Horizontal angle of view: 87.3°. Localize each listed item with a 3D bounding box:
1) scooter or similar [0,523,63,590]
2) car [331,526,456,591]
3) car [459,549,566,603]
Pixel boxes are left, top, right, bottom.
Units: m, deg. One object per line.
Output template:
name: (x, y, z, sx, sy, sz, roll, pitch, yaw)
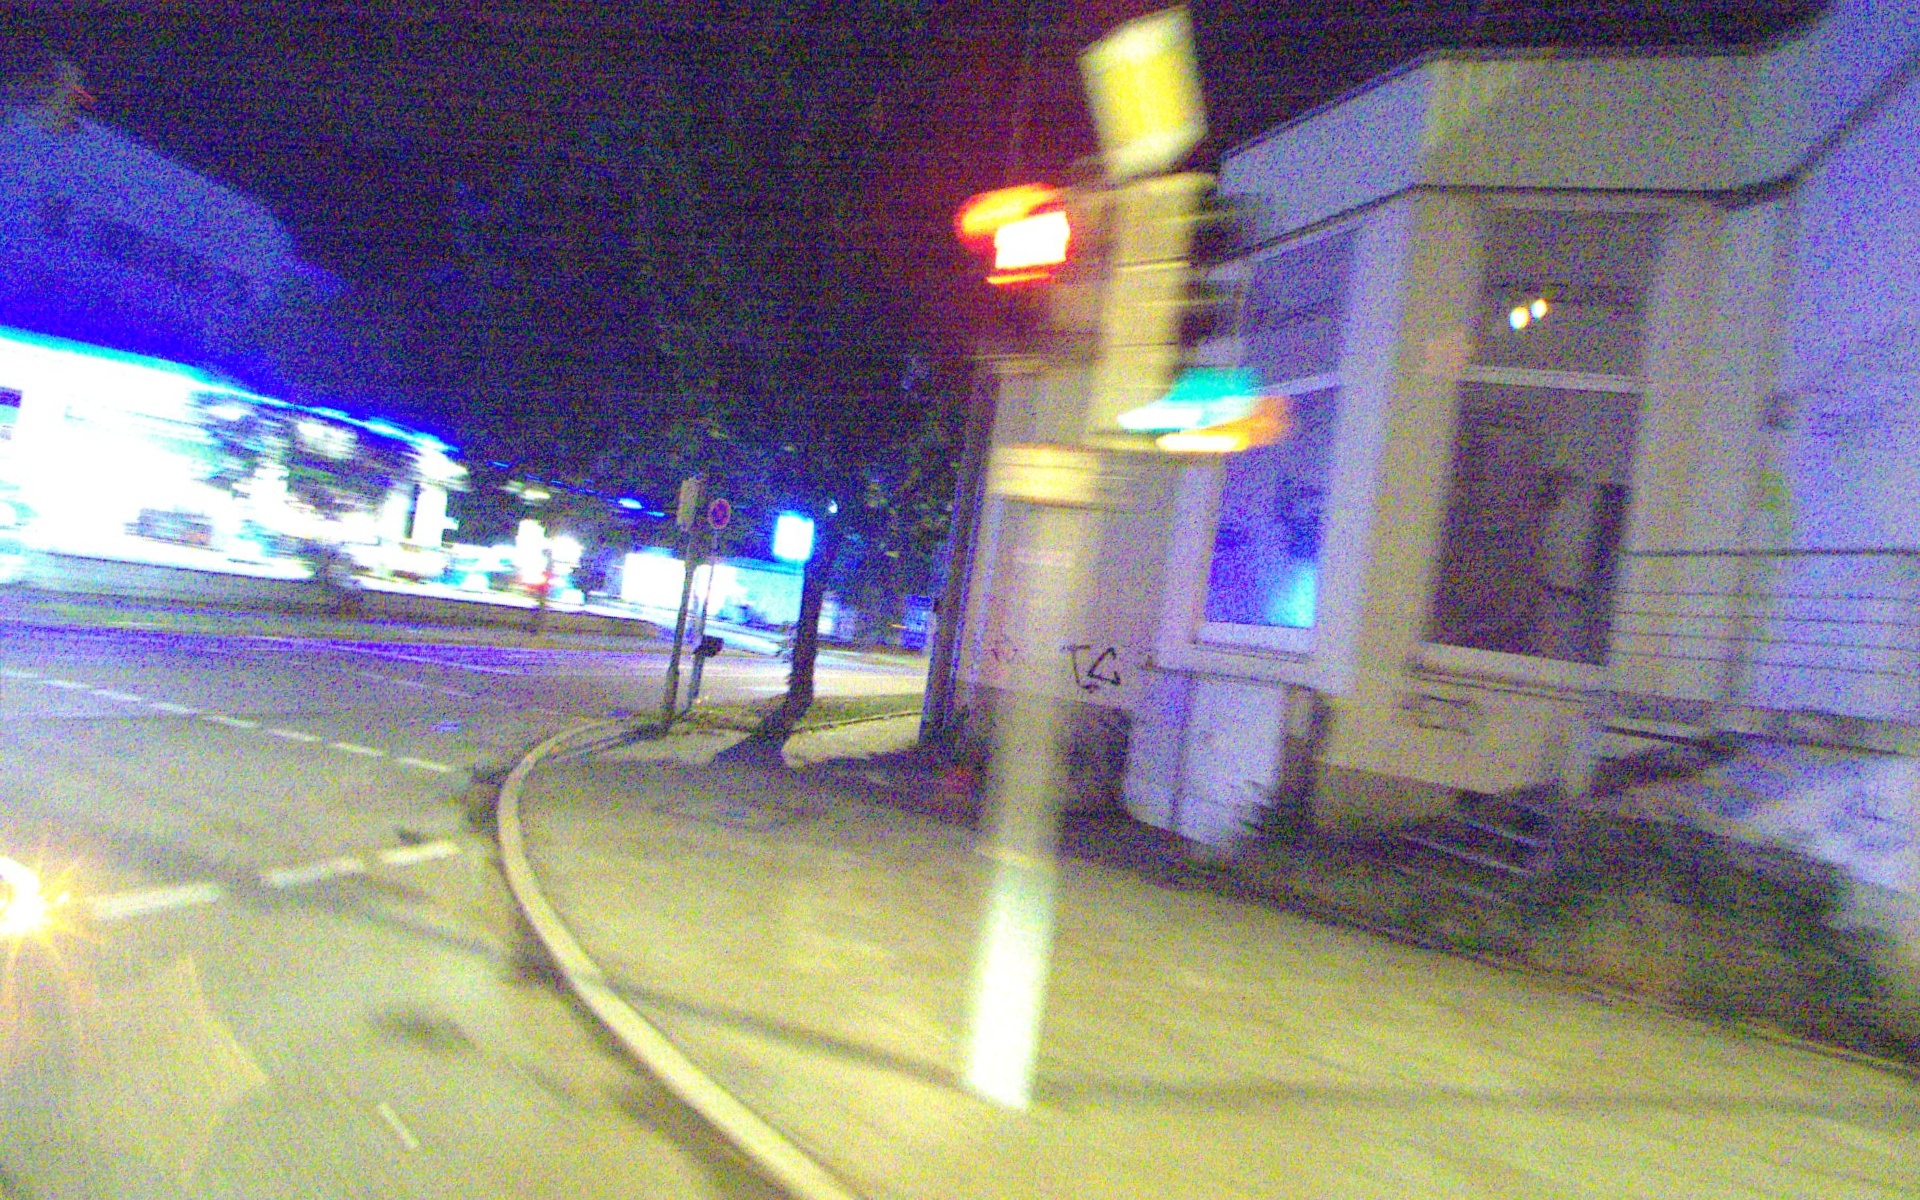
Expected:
scooter or similar: (-17.166, -0.796, 18.226, 0.707, 1.104, 1.673, 8, -1, -21)
car: (-22.985, -1.668, 40.848, 4.172, 1.789, 2.002, 10, -1, 19)
car: (-20.677, -1.109, 46.571, 3.925, 1.682, 2.003, 10, -1, 14)
